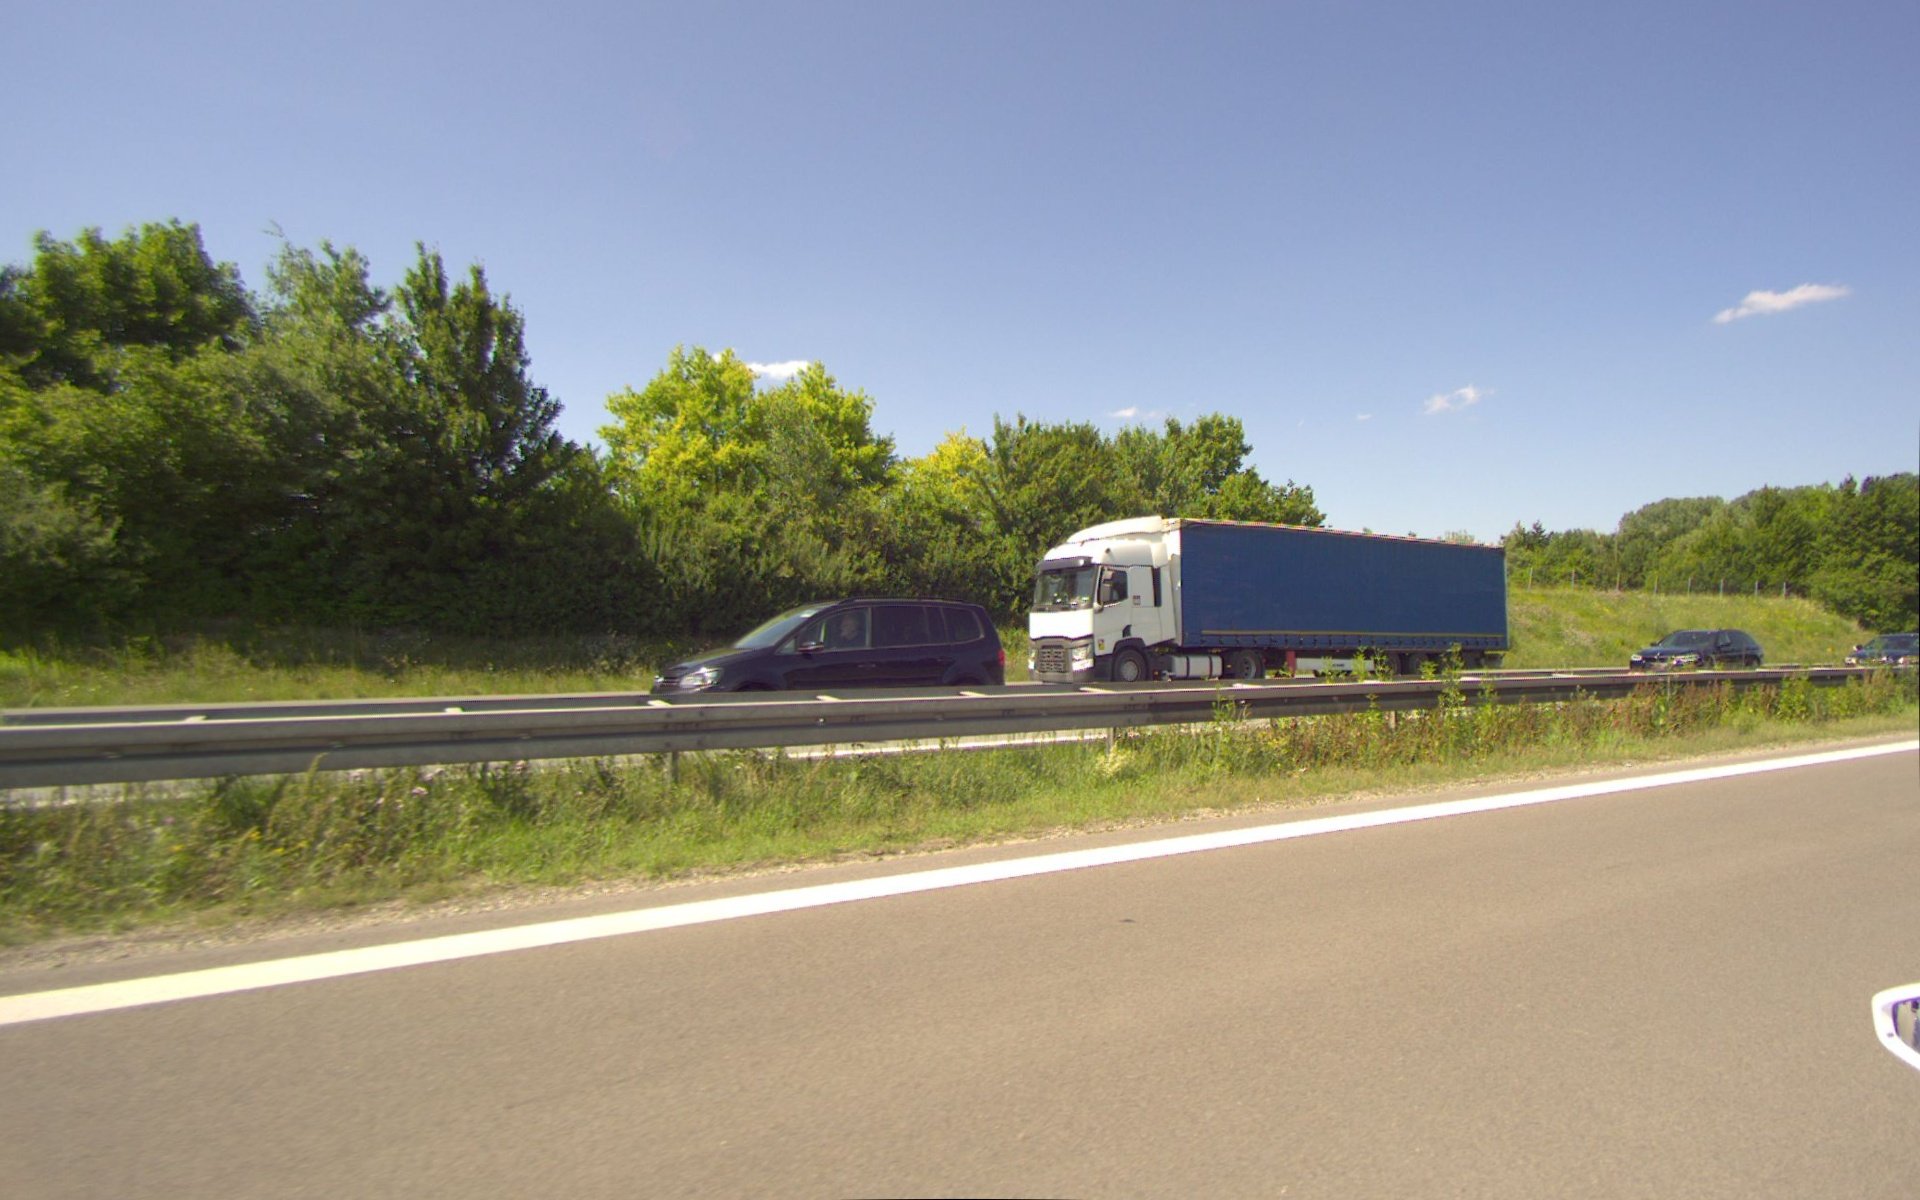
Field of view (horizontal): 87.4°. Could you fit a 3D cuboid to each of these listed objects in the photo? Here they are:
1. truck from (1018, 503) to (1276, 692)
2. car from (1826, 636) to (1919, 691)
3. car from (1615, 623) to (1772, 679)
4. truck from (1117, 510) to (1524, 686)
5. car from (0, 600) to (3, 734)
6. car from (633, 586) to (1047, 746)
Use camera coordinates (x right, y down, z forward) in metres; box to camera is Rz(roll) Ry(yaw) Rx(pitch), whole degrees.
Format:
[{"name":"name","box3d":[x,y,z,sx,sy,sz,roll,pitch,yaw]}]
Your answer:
[{"name":"truck","box3d":[4.638,0.055,24.736,6.006,4.132,2.659,1,-3,-31]},{"name":"car","box3d":[27.293,1.790,29.088,4.960,1.458,1.865,1,-1,-31]},{"name":"car","box3d":[21.947,1.495,30.003,5.148,1.529,1.984,1,-1,-31]},{"name":"truck","box3d":[10.642,0.140,28.313,13.799,4.132,2.659,1,-3,-31]},{"name":"car","box3d":[-12.337,0.710,9.589,4.301,1.530,1.785,1,-1,-32]},{"name":"car","box3d":[-1.369,0.728,12.223,4.667,1.621,1.849,1,-1,-32]}]
